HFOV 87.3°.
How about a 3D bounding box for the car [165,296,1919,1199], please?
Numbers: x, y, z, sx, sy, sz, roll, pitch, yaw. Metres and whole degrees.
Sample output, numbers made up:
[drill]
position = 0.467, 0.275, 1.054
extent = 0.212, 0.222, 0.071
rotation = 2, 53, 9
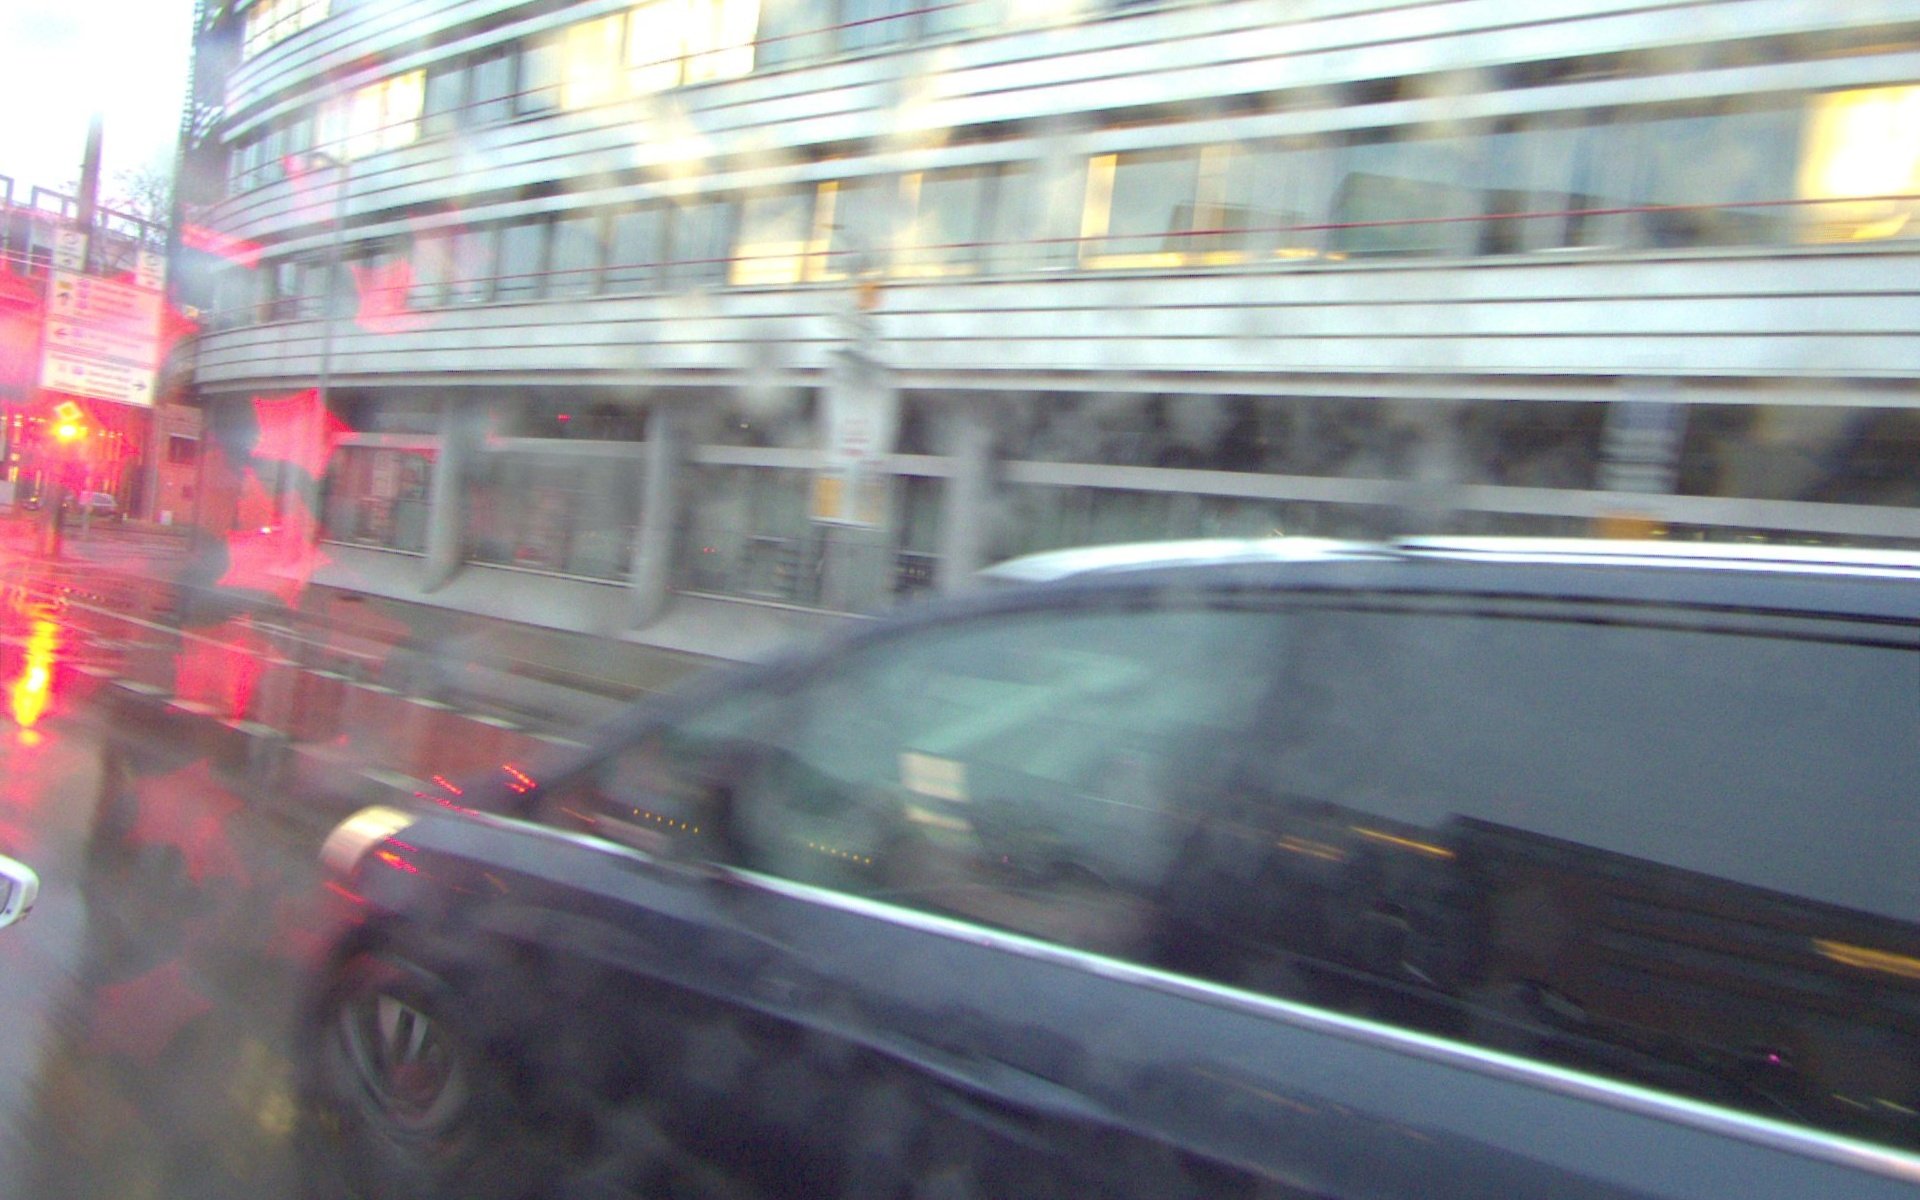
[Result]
[car]
position = 0.309, 0.639, 2.264
extent = 4.597, 1.832, 1.885
rotation = 7, -1, 35
